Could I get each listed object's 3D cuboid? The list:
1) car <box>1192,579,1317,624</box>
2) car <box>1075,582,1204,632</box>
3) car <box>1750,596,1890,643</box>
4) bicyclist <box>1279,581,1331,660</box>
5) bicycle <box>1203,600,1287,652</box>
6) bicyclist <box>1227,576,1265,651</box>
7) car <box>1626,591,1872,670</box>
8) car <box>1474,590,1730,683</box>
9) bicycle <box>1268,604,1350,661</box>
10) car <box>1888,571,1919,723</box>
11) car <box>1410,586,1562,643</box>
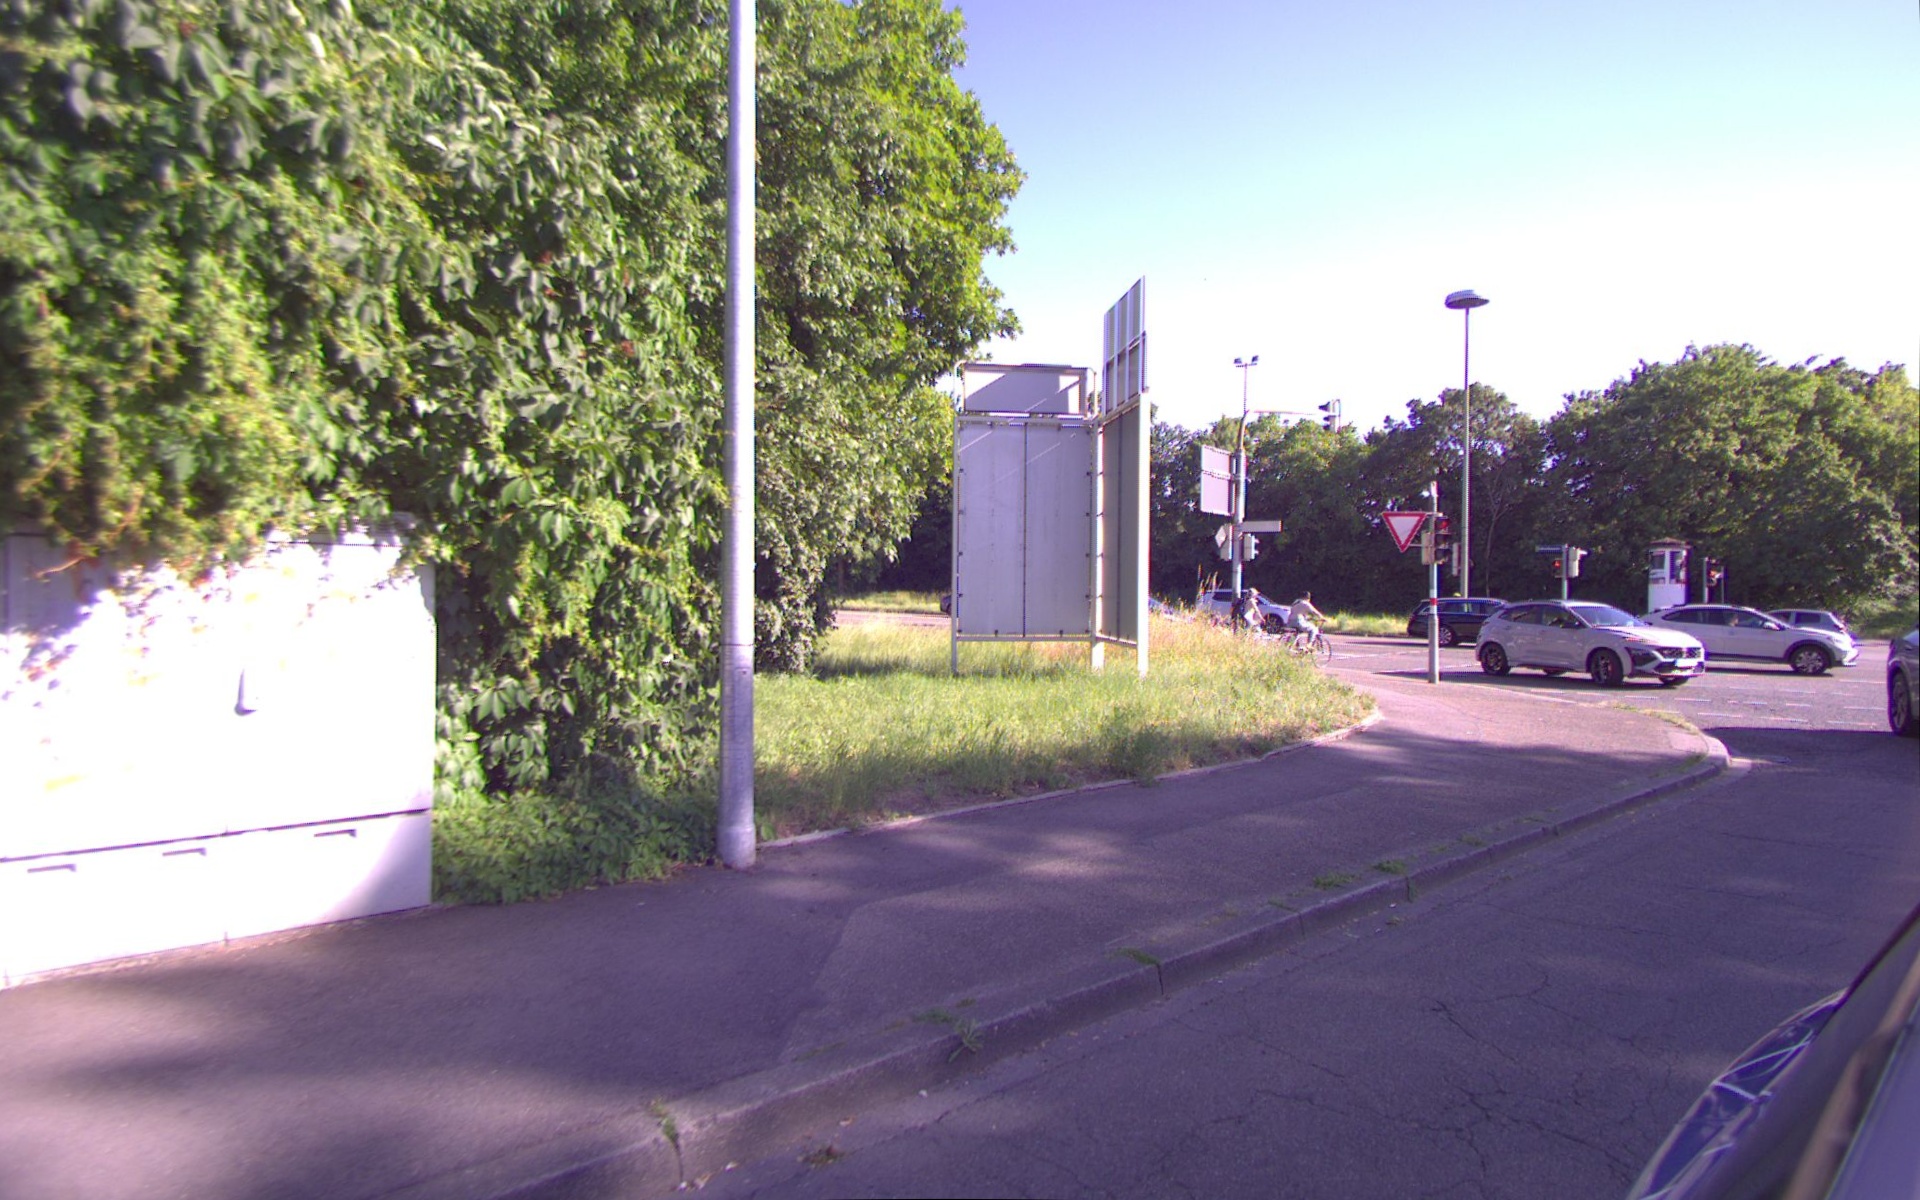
[{"bbox_3d":[11.107,0.030,38.306,4.174,1.557,1.811,2,1,39],"label":"car"},{"bbox_3d":[5.889,0.185,33.372,3.892,1.457,1.670,2,3,39],"label":"car"},{"bbox_3d":[29.362,0.626,34.688,3.581,1.450,1.531,2,2,40],"label":"car"},{"bbox_3d":[7.617,0.451,22.331,0.791,1.655,0.544,5,1,-29],"label":"bicyclist"},{"bbox_3d":[6.791,0.629,24.129,1.831,1.089,0.532,4,1,-12],"label":"bicycle"},{"bbox_3d":[6.809,0.311,24.120,0.573,1.717,0.528,4,1,-11],"label":"bicyclist"},{"bbox_3d":[18.144,0.625,23.455,4.345,1.504,1.893,2,3,40],"label":"car"},{"bbox_3d":[12.264,0.604,19.685,1.657,1.593,4.129,0,1,-16],"label":"car"},{"bbox_3d":[7.725,0.725,22.379,1.832,1.089,0.532,5,1,-28],"label":"bicycle"},{"bbox_3d":[10.997,0.603,9.758,1.976,1.660,4.322,1,3,29],"label":"car"},{"bbox_3d":[15.717,0.376,30.292,3.968,1.560,1.607,0,2,31],"label":"car"}]
